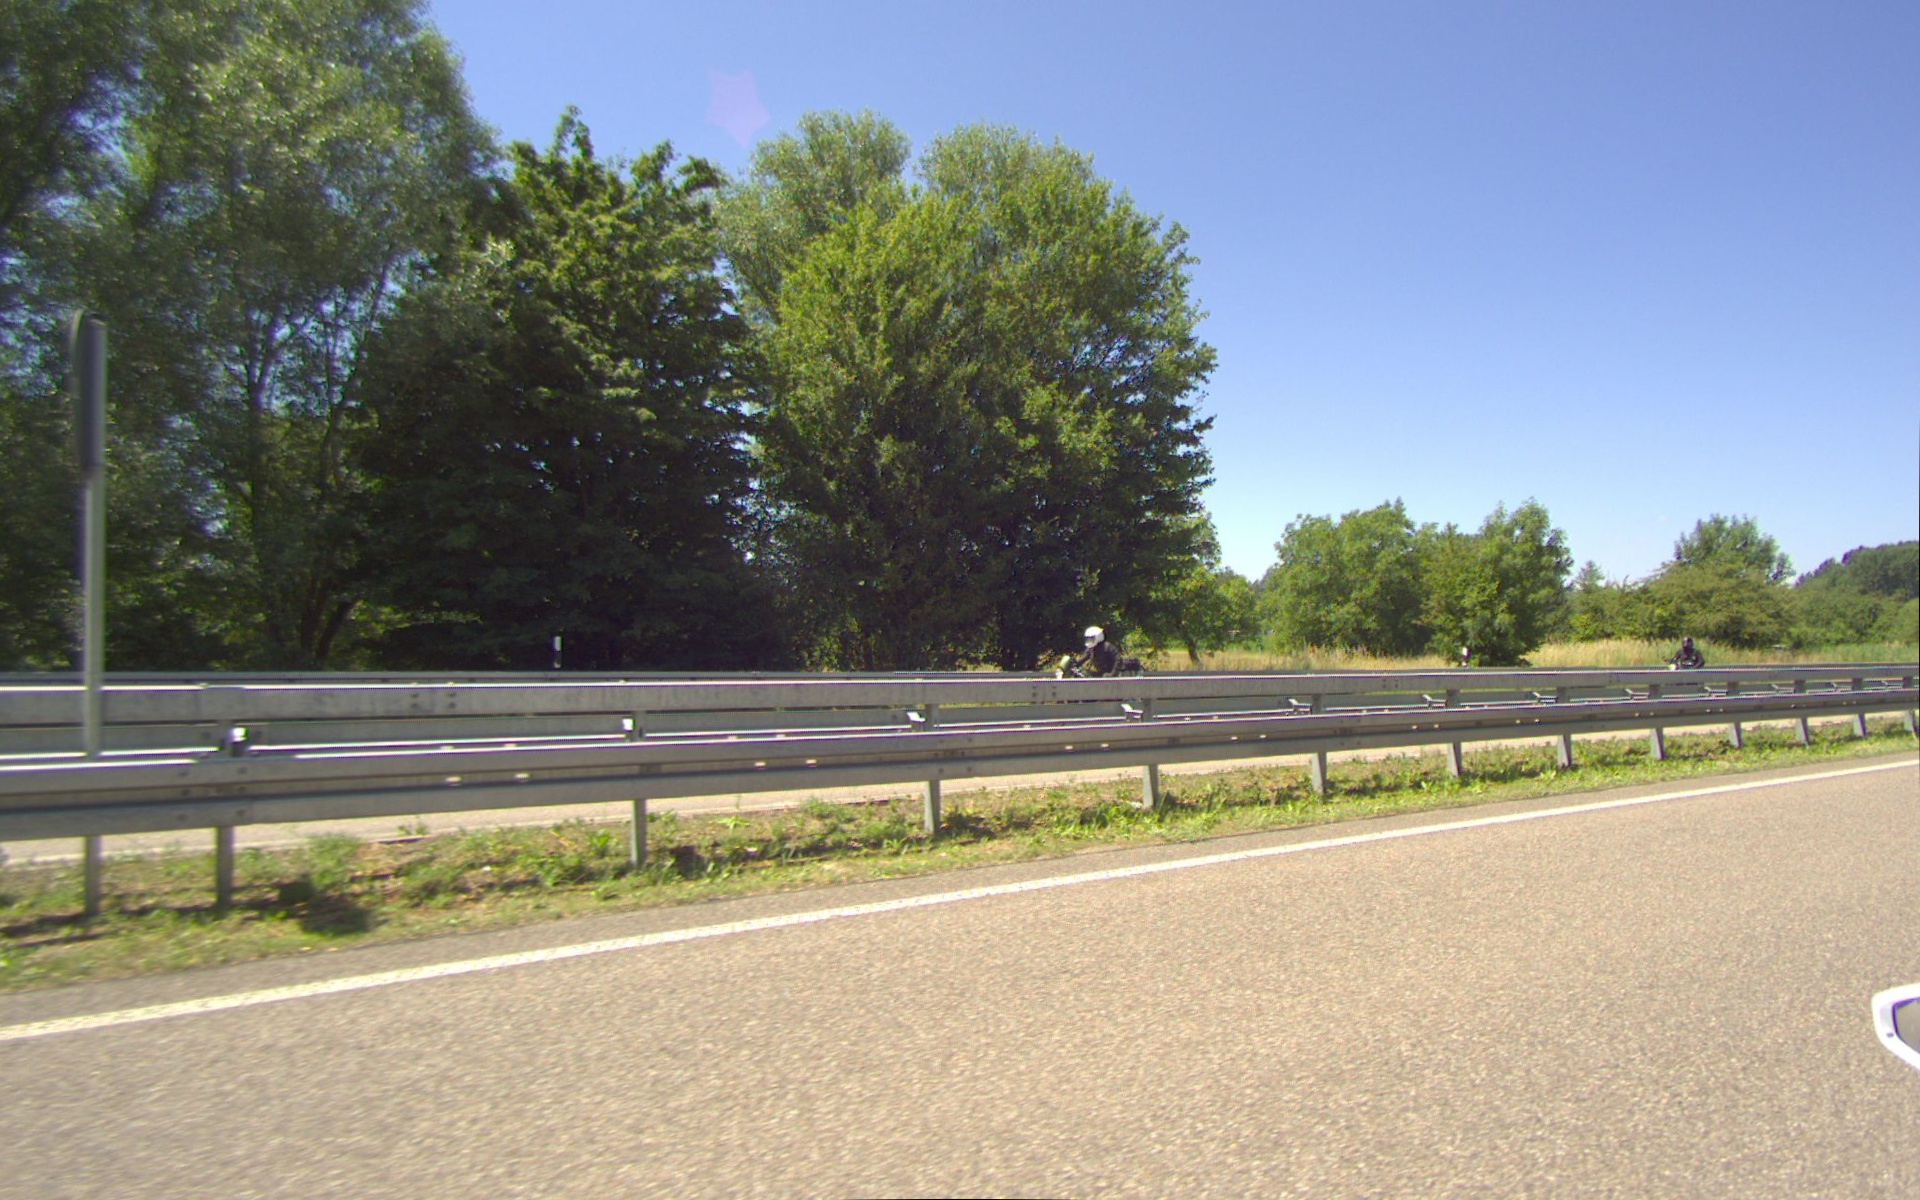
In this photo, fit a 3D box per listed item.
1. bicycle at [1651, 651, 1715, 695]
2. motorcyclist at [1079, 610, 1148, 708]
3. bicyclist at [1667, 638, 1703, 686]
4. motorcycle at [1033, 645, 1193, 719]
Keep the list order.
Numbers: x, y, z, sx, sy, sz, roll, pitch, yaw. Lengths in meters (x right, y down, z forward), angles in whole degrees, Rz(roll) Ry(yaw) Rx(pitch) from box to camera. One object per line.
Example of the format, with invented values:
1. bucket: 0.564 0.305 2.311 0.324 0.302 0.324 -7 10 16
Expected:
1. bicycle: 20.191 2.013 28.025 2.254 1.173 0.610 2 -1 -31
2. motorcyclist: 2.433 0.920 15.917 0.799 1.502 0.715 2 -1 -29
3. bicyclist: 20.268 1.731 28.075 0.601 1.294 0.611 2 -1 -30
4. motorcycle: 2.463 1.272 15.977 2.636 1.078 0.723 2 -1 -31
